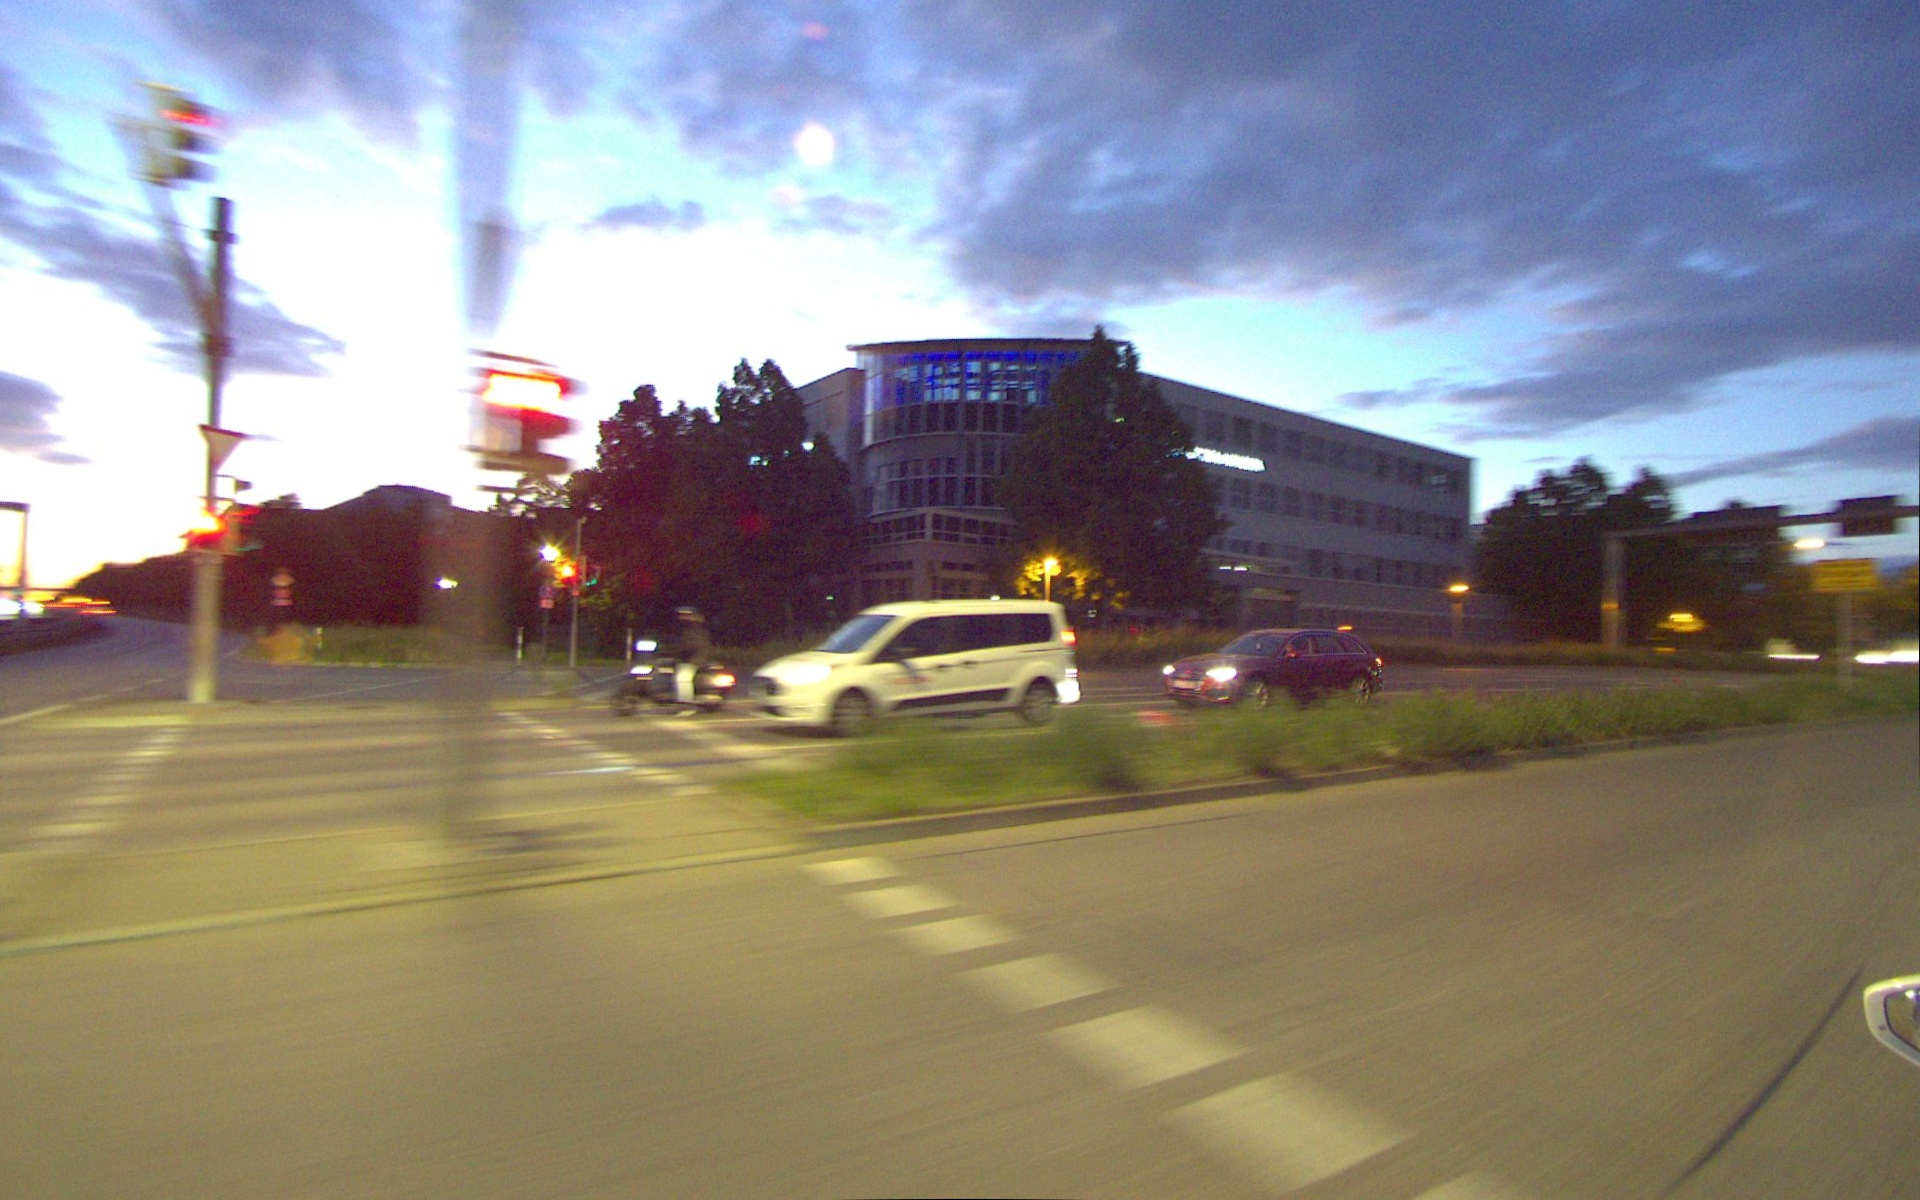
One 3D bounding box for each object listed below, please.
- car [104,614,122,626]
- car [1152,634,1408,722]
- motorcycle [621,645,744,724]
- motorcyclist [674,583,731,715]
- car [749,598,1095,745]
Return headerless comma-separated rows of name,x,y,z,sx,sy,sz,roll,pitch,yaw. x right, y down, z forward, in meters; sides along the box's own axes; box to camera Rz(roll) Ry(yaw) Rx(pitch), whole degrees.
car,-132.466,3.157,157.058,1.898,1.704,4.372,2,-3,-38
car,5.978,1.381,18.567,4.784,1.416,1.861,2,-2,-32
motorcycle,-4.382,1.310,15.907,1.784,1.179,0.669,1,-2,-26
motorcyclist,-4.116,0.773,16.043,0.758,2.040,0.632,1,-2,-26
car,-0.480,0.972,14.542,4.719,1.838,1.835,2,-2,-31
